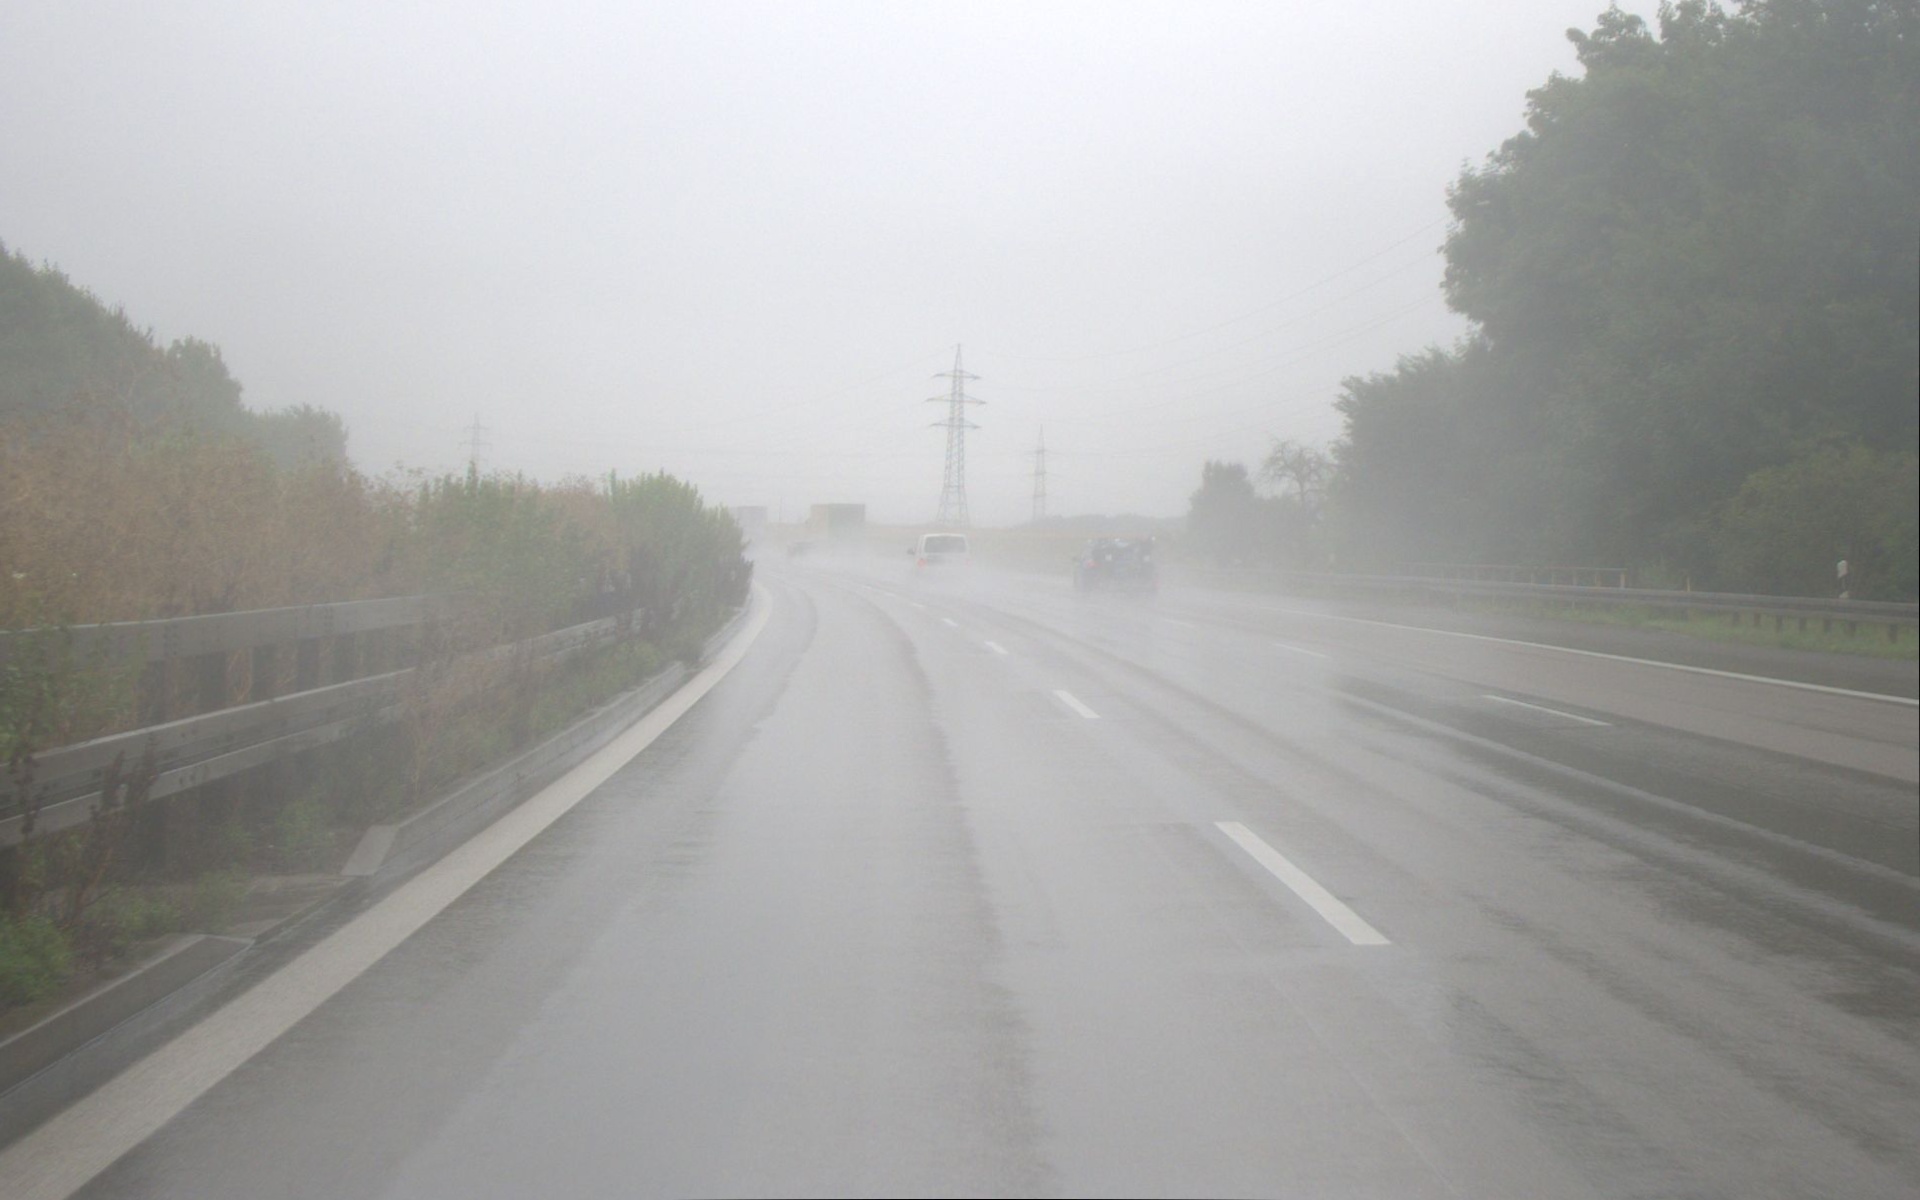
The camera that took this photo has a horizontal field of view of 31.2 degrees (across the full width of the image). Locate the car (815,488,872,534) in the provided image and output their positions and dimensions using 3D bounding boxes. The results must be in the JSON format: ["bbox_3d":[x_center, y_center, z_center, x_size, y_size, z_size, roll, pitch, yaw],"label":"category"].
[{"bbox_3d":[-8.238,-6.241,242.019,3.199,3.182,7.259,1,1,-8],"label":"car"}]

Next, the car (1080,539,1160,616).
[{"bbox_3d":[4.573,-0.667,98.821,1.807,2.151,4.001,1,1,-4],"label":"car"}]
